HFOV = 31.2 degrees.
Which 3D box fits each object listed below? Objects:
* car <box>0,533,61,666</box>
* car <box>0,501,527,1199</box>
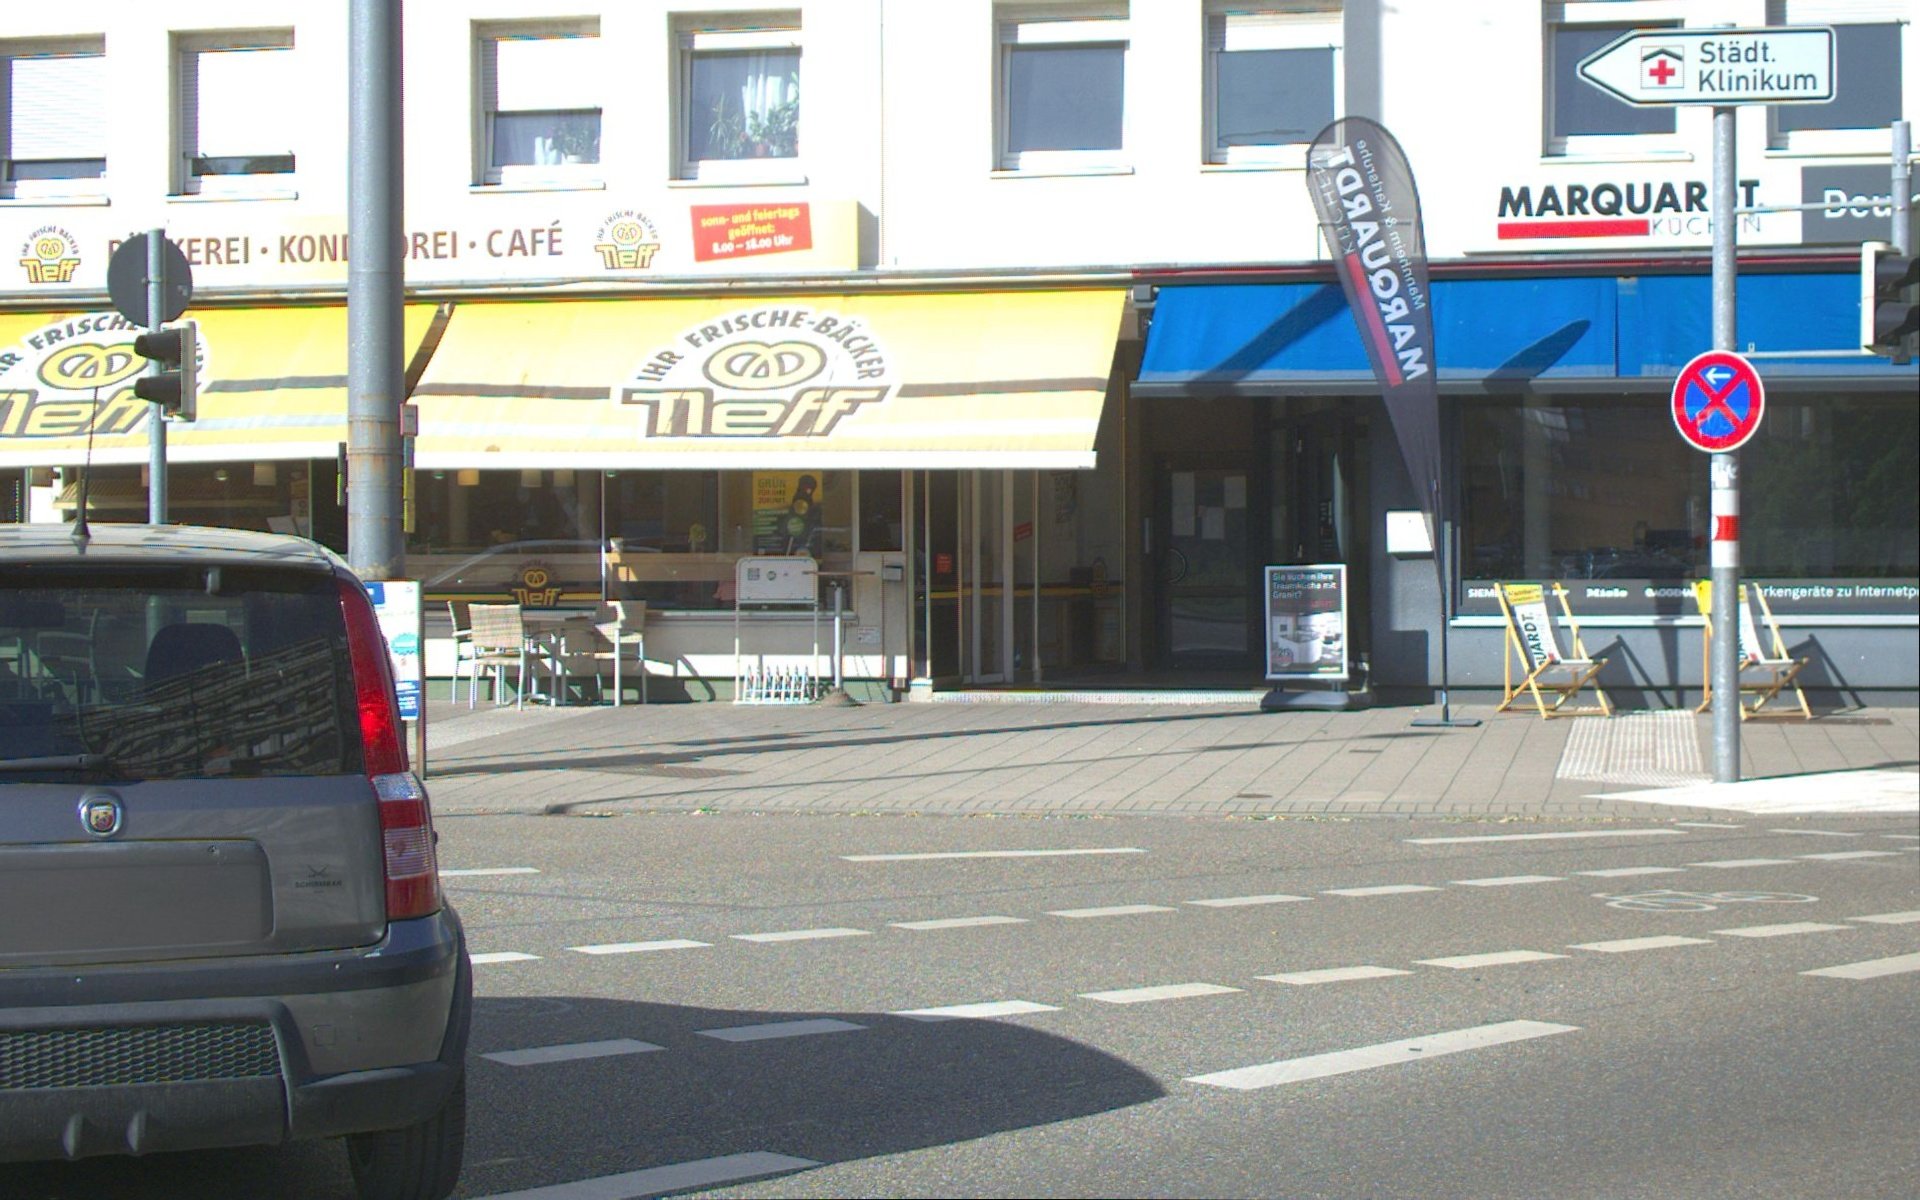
[{"bbox_3d":[-11.995,0.013,38.619,1.937,1.507,3.936,0,1,16],"label":"car"},{"bbox_3d":[-2.201,0.529,8.338,1.659,1.505,3.252,-1,1,-19],"label":"car"}]
